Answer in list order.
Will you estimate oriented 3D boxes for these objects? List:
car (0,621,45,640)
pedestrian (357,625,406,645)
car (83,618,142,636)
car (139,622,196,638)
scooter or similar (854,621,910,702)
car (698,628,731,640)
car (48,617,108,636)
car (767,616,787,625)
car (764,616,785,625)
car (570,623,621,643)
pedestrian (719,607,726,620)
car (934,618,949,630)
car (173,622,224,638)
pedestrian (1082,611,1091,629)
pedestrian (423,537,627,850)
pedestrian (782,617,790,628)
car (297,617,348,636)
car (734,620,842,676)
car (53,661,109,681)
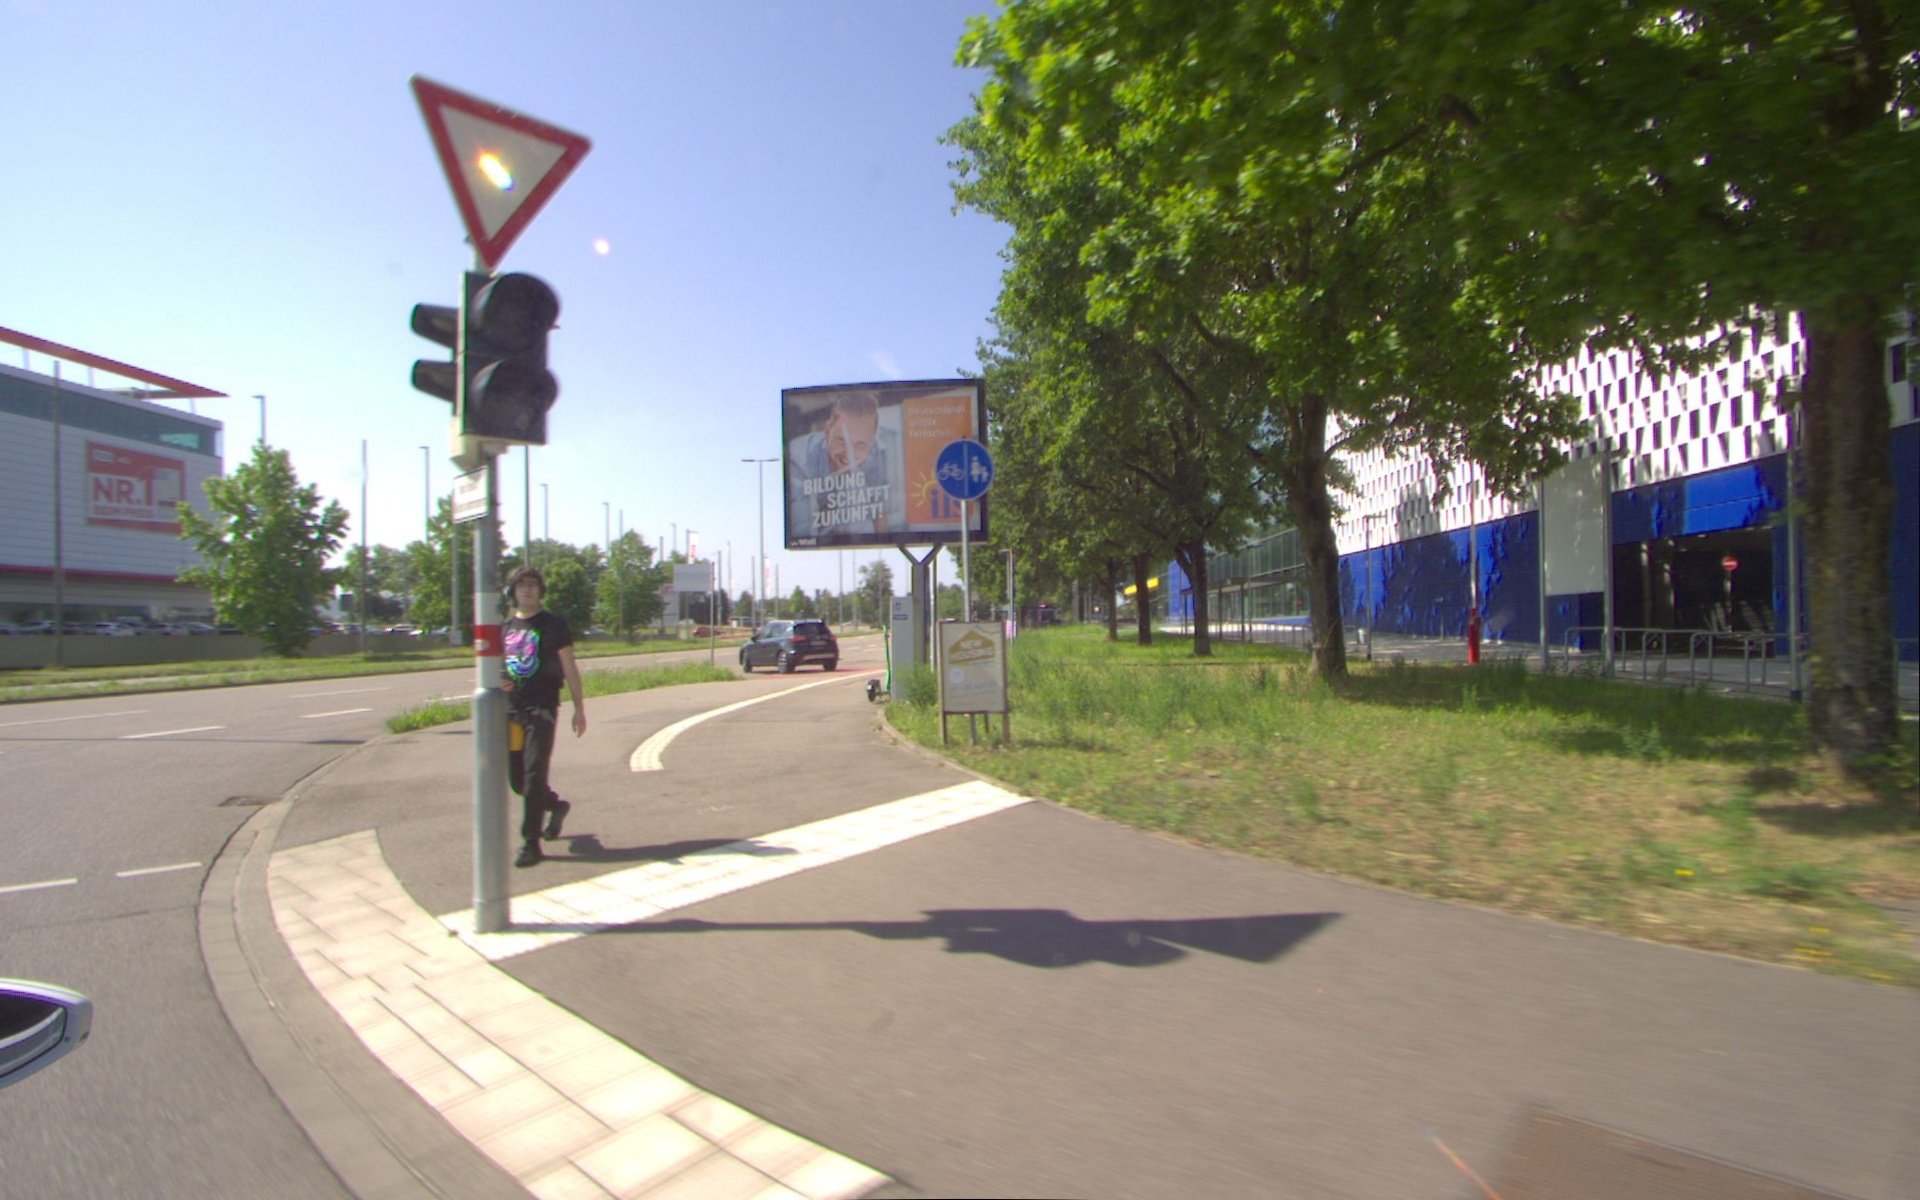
[{"bbox_3d":[-68.805,2.201,72.987,3.083,1.346,1.302,0,-2,2],"label":"car"},{"bbox_3d":[-61.015,3.682,105.675,1.973,2.039,3.978,-2,-3,34],"label":"pedestrian"},{"bbox_3d":[-63.672,2.035,75.274,3.037,1.346,1.705,0,-2,3],"label":"car"},{"bbox_3d":[-63.231,2.419,79.910,3.442,1.214,1.481,0,-2,3],"label":"car"},{"bbox_3d":[-1.175,0.930,15.252,0.396,1.181,1.182,-1,-2,20],"label":"scooter or similar"},{"bbox_3d":[-33.754,4.677,137.785,4.115,1.626,1.828,0,-2,-1],"label":"car"},{"bbox_3d":[-64.055,1.922,72.734,3.037,1.346,1.517,0,-2,3],"label":"car"},{"bbox_3d":[-31.616,3.563,173.083,3.289,1.519,1.410,0,-2,0],"label":"car"},{"bbox_3d":[-31.393,3.417,169.311,3.330,1.519,1.410,0,-2,2],"label":"car"},{"bbox_3d":[-36.518,3.321,100.378,4.341,1.866,1.946,-1,-2,3],"label":"car"},{"bbox_3d":[-37.192,2.146,156.742,0.704,1.997,0.918,0,-2,8],"label":"pedestrian"},{"bbox_3d":[-2.518,3.278,136.433,1.678,1.593,4.175,-1,-1,2],"label":"car"},{"bbox_3d":[-62.823,2.477,82.634,3.037,1.346,1.517,0,-2,3],"label":"car"},{"bbox_3d":[11.832,1.882,93.650,0.677,1.633,0.771,-1,0,0],"label":"pedestrian"},{"bbox_3d":[-2.738,0.553,6.359,0.695,1.803,0.956,-1,-1,28],"label":"pedestrian"},{"bbox_3d":[-27.092,3.518,156.053,0.827,1.729,0.904,-1,0,15],"label":"pedestrian"},{"bbox_3d":[-38.764,1.615,60.908,2.472,1.073,1.072,0,-2,1],"label":"car"},{"bbox_3d":[-5.168,1.375,29.819,1.658,1.543,3.346,1,-1,-42],"label":"car"},{"bbox_3d":[-44.587,3.610,50.799,1.905,0.987,1.072,0,-2,1],"label":"car"}]
